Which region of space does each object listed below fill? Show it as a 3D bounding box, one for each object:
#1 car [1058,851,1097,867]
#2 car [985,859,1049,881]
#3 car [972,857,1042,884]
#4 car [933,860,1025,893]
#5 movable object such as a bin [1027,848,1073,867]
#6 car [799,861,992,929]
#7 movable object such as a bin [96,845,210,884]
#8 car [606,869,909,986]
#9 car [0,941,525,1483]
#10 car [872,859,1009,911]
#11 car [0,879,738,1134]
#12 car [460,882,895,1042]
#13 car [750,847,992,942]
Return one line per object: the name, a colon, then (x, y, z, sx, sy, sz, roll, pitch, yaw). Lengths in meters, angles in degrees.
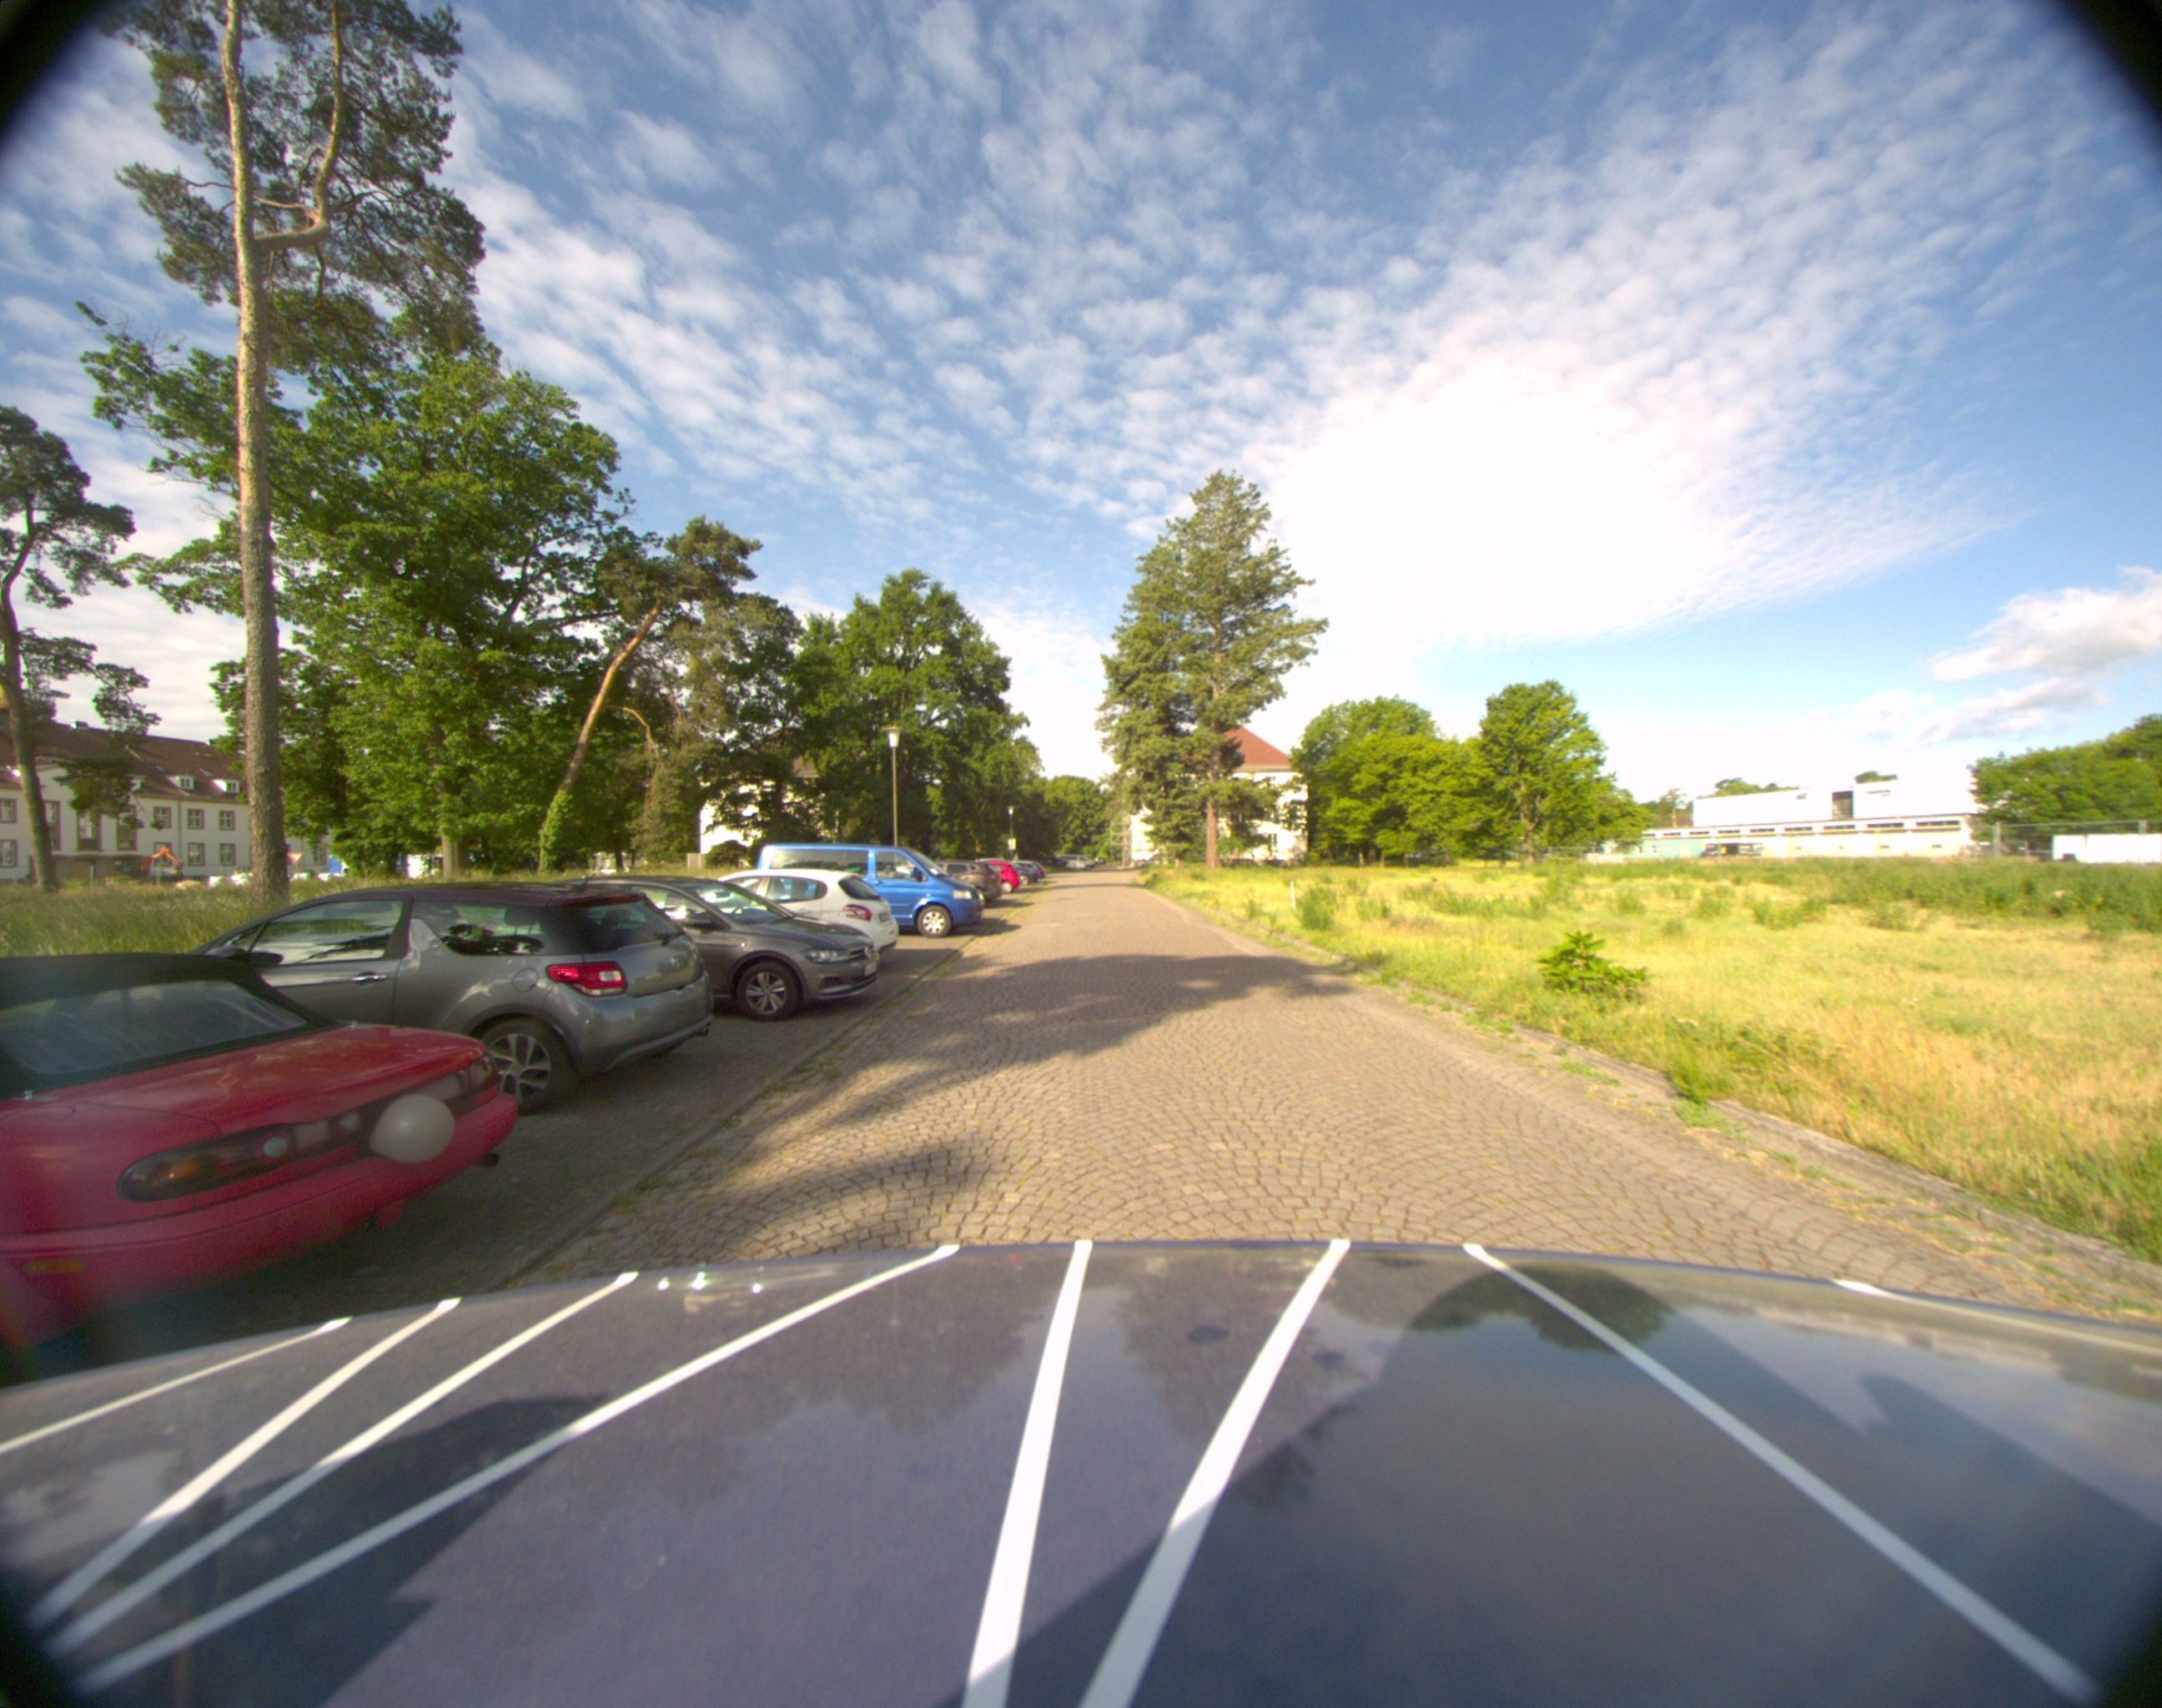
car: (-0.465, 0.659, 99.416, 4.933, 2.002, 1.999, 1, 1, -6)
car: (-4.218, 1.074, 50.684, 4.098, 1.414, 1.784, 1, 0, -1)
car: (-4.455, 0.992, 46.099, 4.098, 1.548, 1.853, 1, 0, -1)
car: (-4.765, 1.035, 35.803, 4.098, 1.451, 1.853, 1, 0, -1)
movable object such as a bin: (-3.530, 0.388, 86.619, 4.866, 2.002, 2.002, -2, 0, 13)
car: (-4.581, 0.993, 19.250, 4.408, 1.568, 1.939, 0, 0, 0)
movable object such as a bin: (-89.058, 0.993, 73.111, 6.460, 3.282, 2.859, -4, 1, -43)
car: (-4.611, 1.020, 11.236, 3.716, 1.525, 1.761, 1, 0, 1)
car: (-4.622, 1.044, 2.899, 3.716, 1.216, 1.746, 1, 0, 1)
car: (-4.612, 1.011, 25.475, 4.237, 1.588, 1.934, 0, 1, -3)
car: (-4.740, 0.940, 5.445, 3.716, 1.440, 1.816, 1, 0, 0)
car: (-4.118, 1.069, 8.242, 3.716, 1.440, 1.856, 1, 0, 1)
car: (-4.429, 0.834, 16.577, 4.710, 1.924, 2.000, 0, 0, 0)
